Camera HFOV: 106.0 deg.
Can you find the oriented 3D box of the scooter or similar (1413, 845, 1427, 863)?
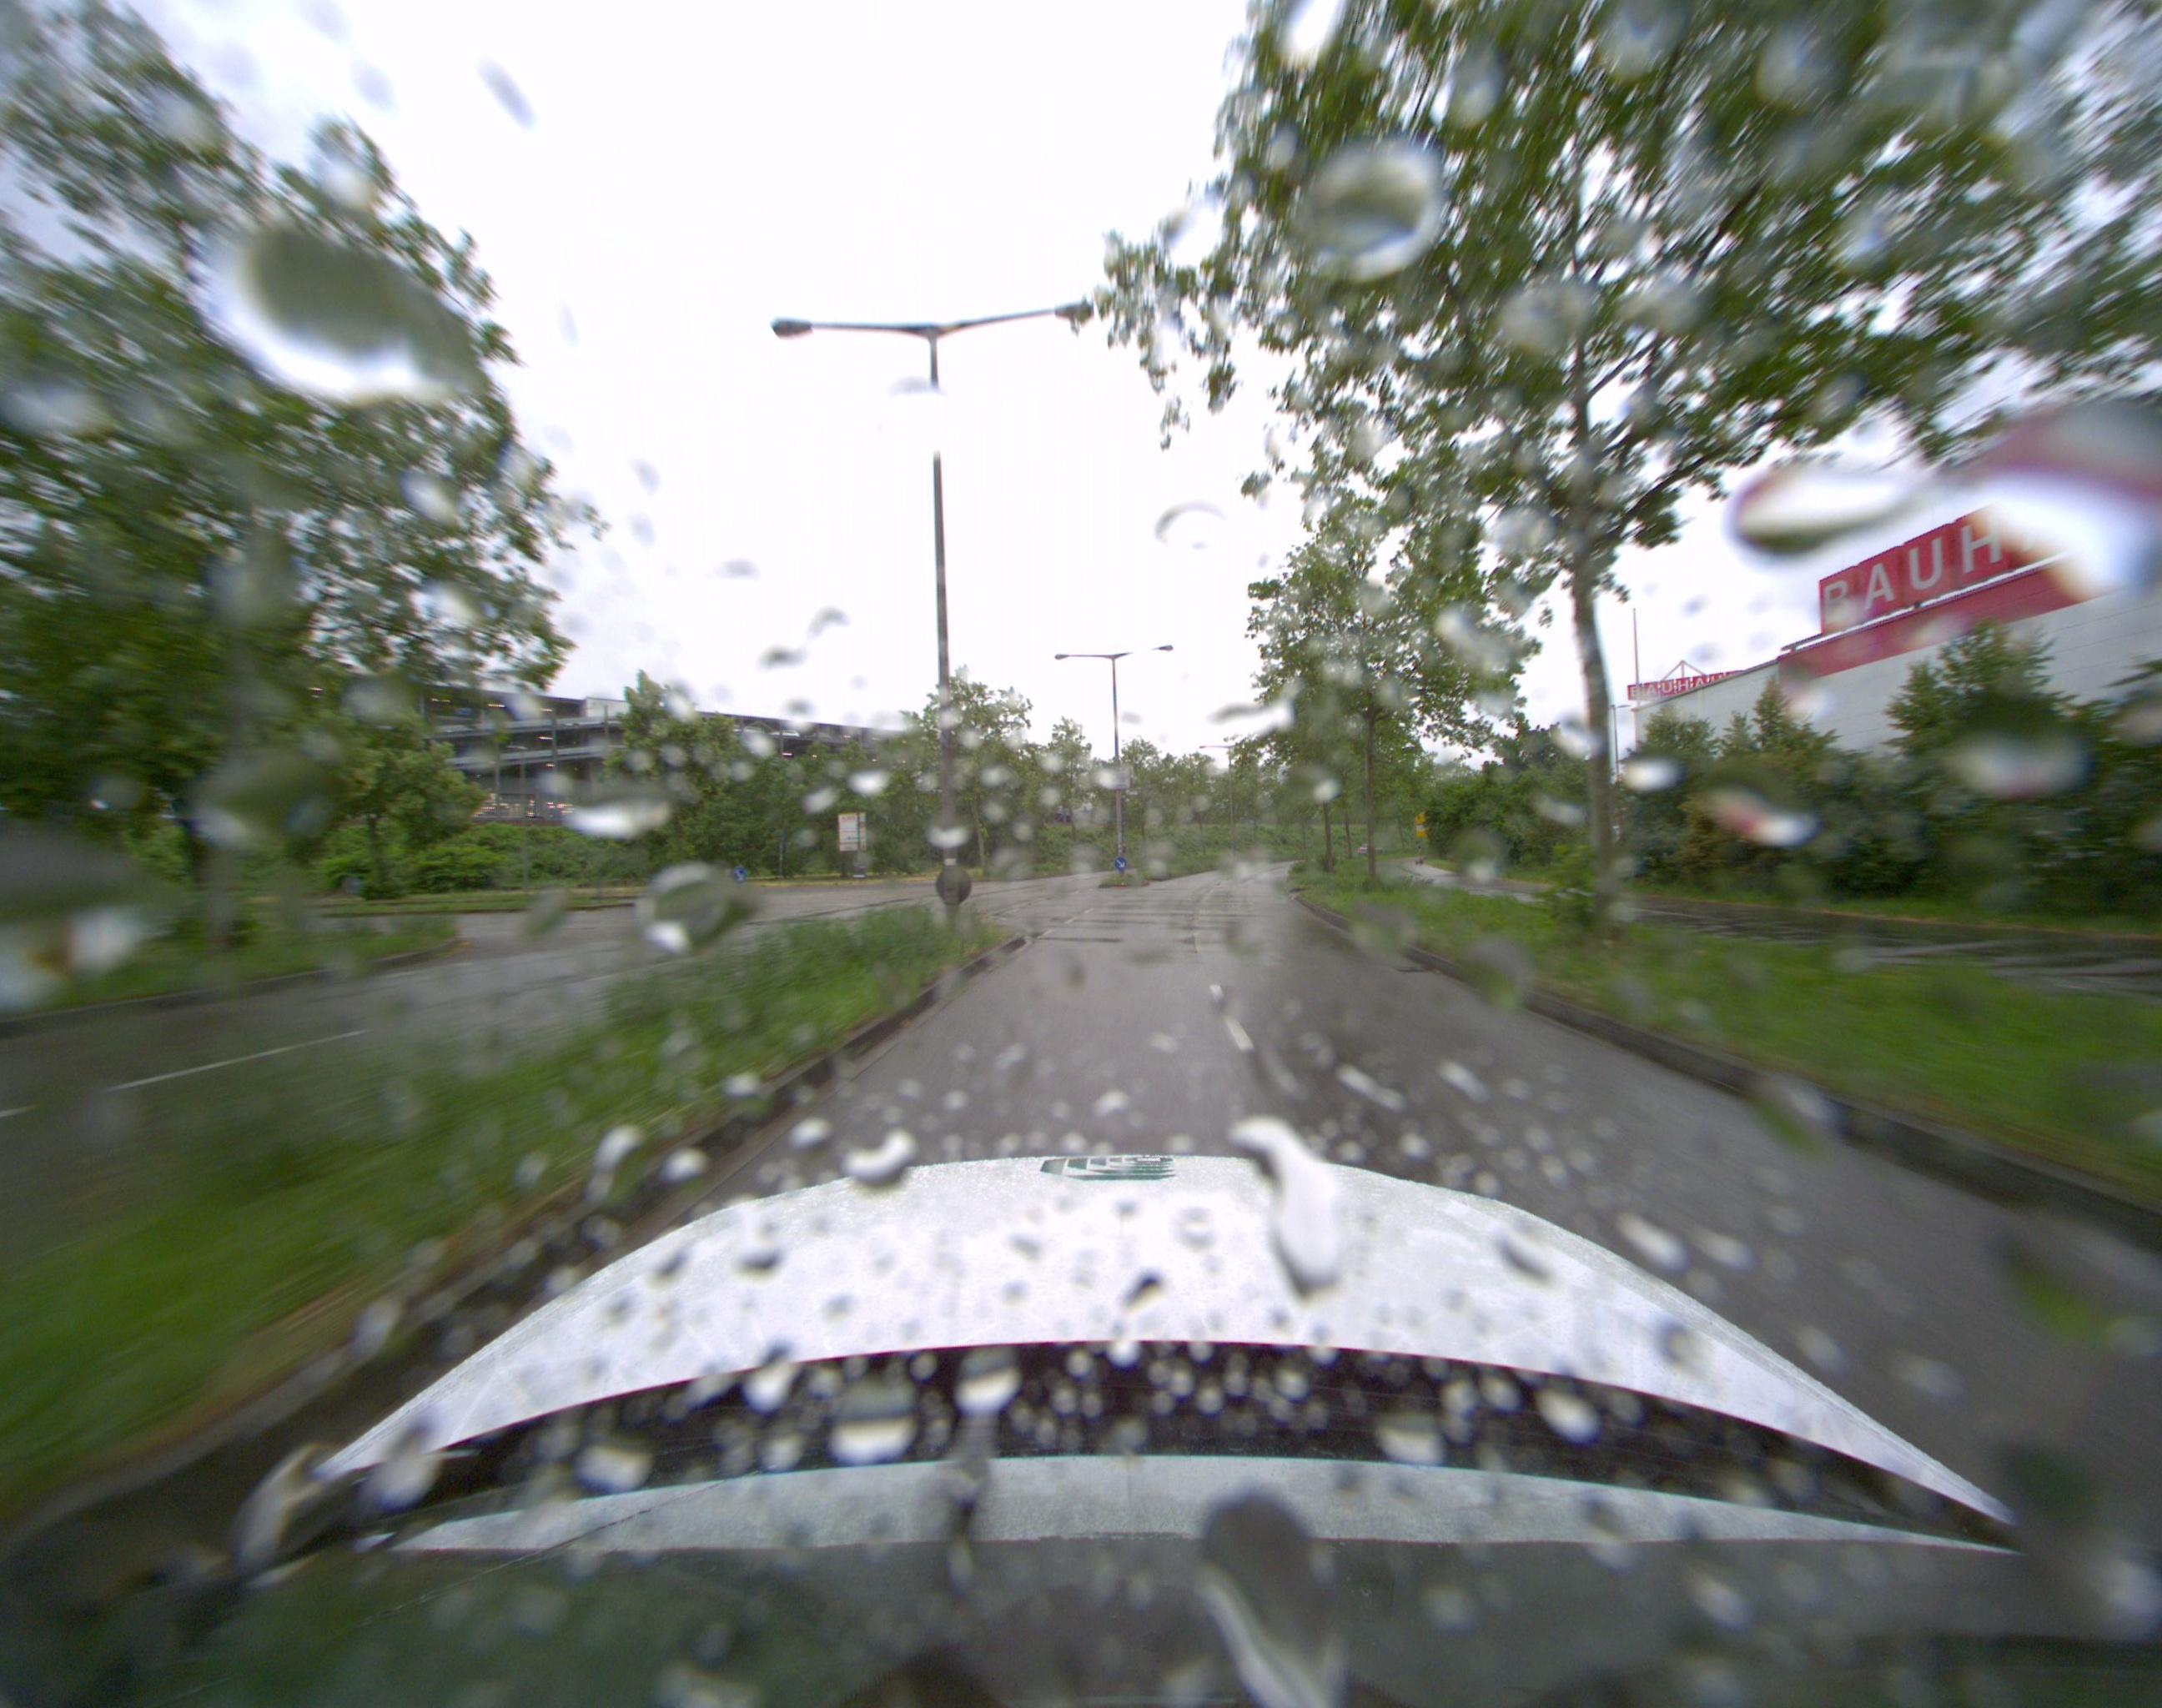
[{"bbox_3d":[22.216,0.001,53.329,0.545,1.198,1.113,-2,0,6],"label":"scooter or similar"}]

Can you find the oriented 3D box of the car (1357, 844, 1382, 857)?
[{"bbox_3d":[35.857,-0.455,101.139,1.762,1.555,4.026,0,1,36],"label":"car"}]
